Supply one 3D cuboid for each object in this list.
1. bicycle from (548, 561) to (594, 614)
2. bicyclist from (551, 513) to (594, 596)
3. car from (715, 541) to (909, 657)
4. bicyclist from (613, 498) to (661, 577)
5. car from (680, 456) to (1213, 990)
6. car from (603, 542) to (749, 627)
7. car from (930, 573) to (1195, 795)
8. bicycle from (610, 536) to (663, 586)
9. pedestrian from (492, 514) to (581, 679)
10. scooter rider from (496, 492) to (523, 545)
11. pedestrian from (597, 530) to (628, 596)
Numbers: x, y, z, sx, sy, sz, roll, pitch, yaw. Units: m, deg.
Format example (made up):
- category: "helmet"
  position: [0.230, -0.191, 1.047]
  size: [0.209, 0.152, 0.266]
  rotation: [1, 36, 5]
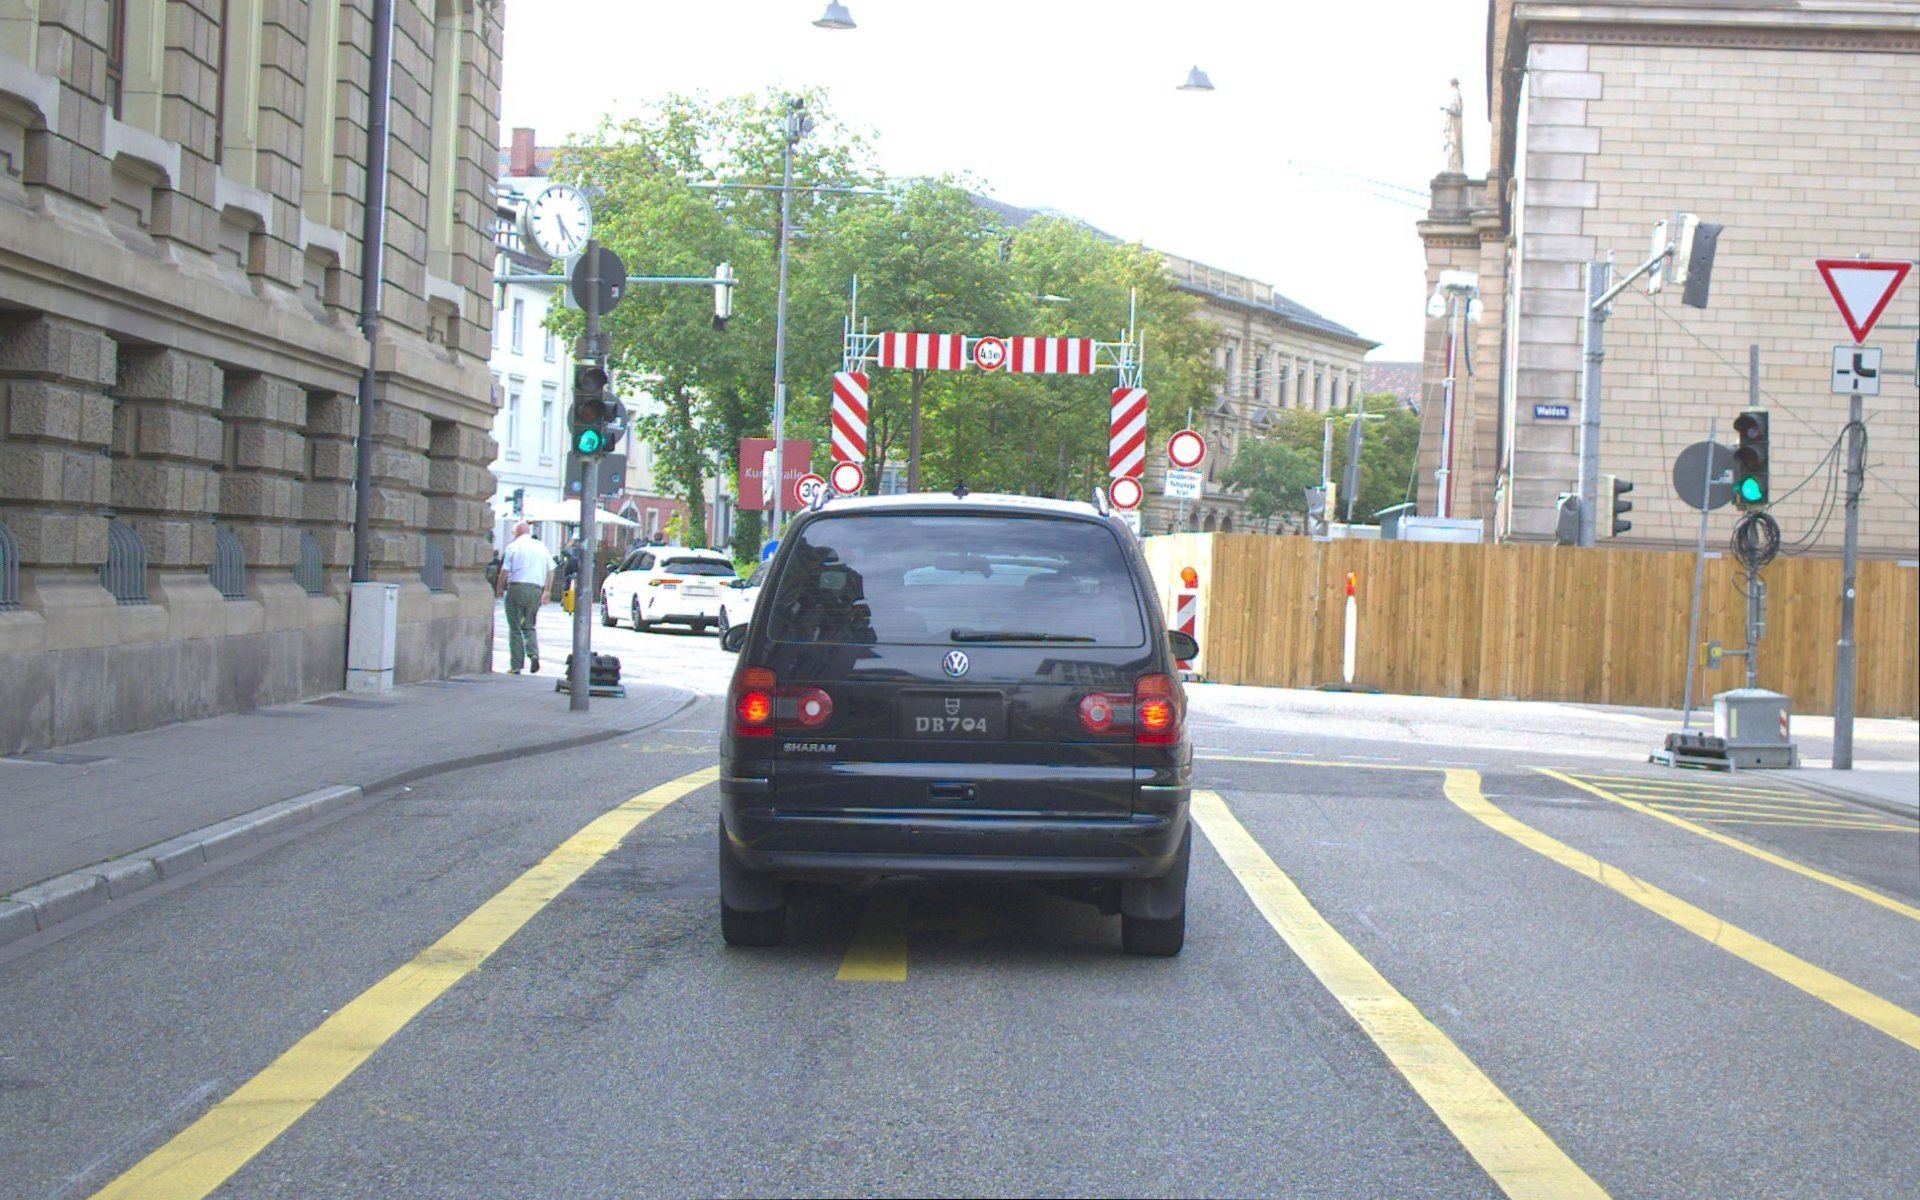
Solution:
- category: "bicycle"
  position: [-7.684, -0.255, 67.855]
  size: [0.735, 1.005, 2.069]
  rotation: [2, 0, -10]
- category: "bicyclist"
  position: [-7.650, -0.889, 67.813]
  size: [0.735, 1.606, 0.695]
  rotation: [2, 0, -11]
- category: "car"
  position: [-2.102, -0.039, 47.709]
  size: [1.703, 1.496, 4.001]
  rotation: [2, 0, -17]
- category: "bicyclist"
  position: [-7.411, -1.427, 78.956]
  size: [0.965, 1.776, 0.986]
  rotation: [2, 0, -1]
- category: "car"
  position: [0.047, 0.417, 14.059]
  size: [1.790, 1.784, 4.103]
  rotation: [3, 0, 3]
- category: "car"
  position: [-4.749, -0.276, 57.112]
  size: [1.649, 1.317, 3.676]
  rotation: [2, 0, -17]
- category: "car"
  position: [0.695, 0.569, 25.868]
  size: [1.678, 1.464, 4.103]
  rotation: [2, 0, -2]
- category: "bicycle"
  position: [-7.429, -0.884, 78.997]
  size: [0.965, 1.108, 2.790]
  rotation: [2, 0, -1]
- category: "pedestrian"
  position: [-4.854, -0.046, 39.373]
  size: [0.792, 1.813, 1.048]
  rotation: [4, 0, -13]
- category: "scooter rider"
  position: [-13.012, -2.348, 99.202]
  size: [0.599, 1.485, 0.679]
  rotation: [2, 0, 4]
- category: "pedestrian"
  position: [-10.685, -1.142, 105.735]
  size: [0.684, 2.007, 0.587]
  rotation: [2, 0, -33]
